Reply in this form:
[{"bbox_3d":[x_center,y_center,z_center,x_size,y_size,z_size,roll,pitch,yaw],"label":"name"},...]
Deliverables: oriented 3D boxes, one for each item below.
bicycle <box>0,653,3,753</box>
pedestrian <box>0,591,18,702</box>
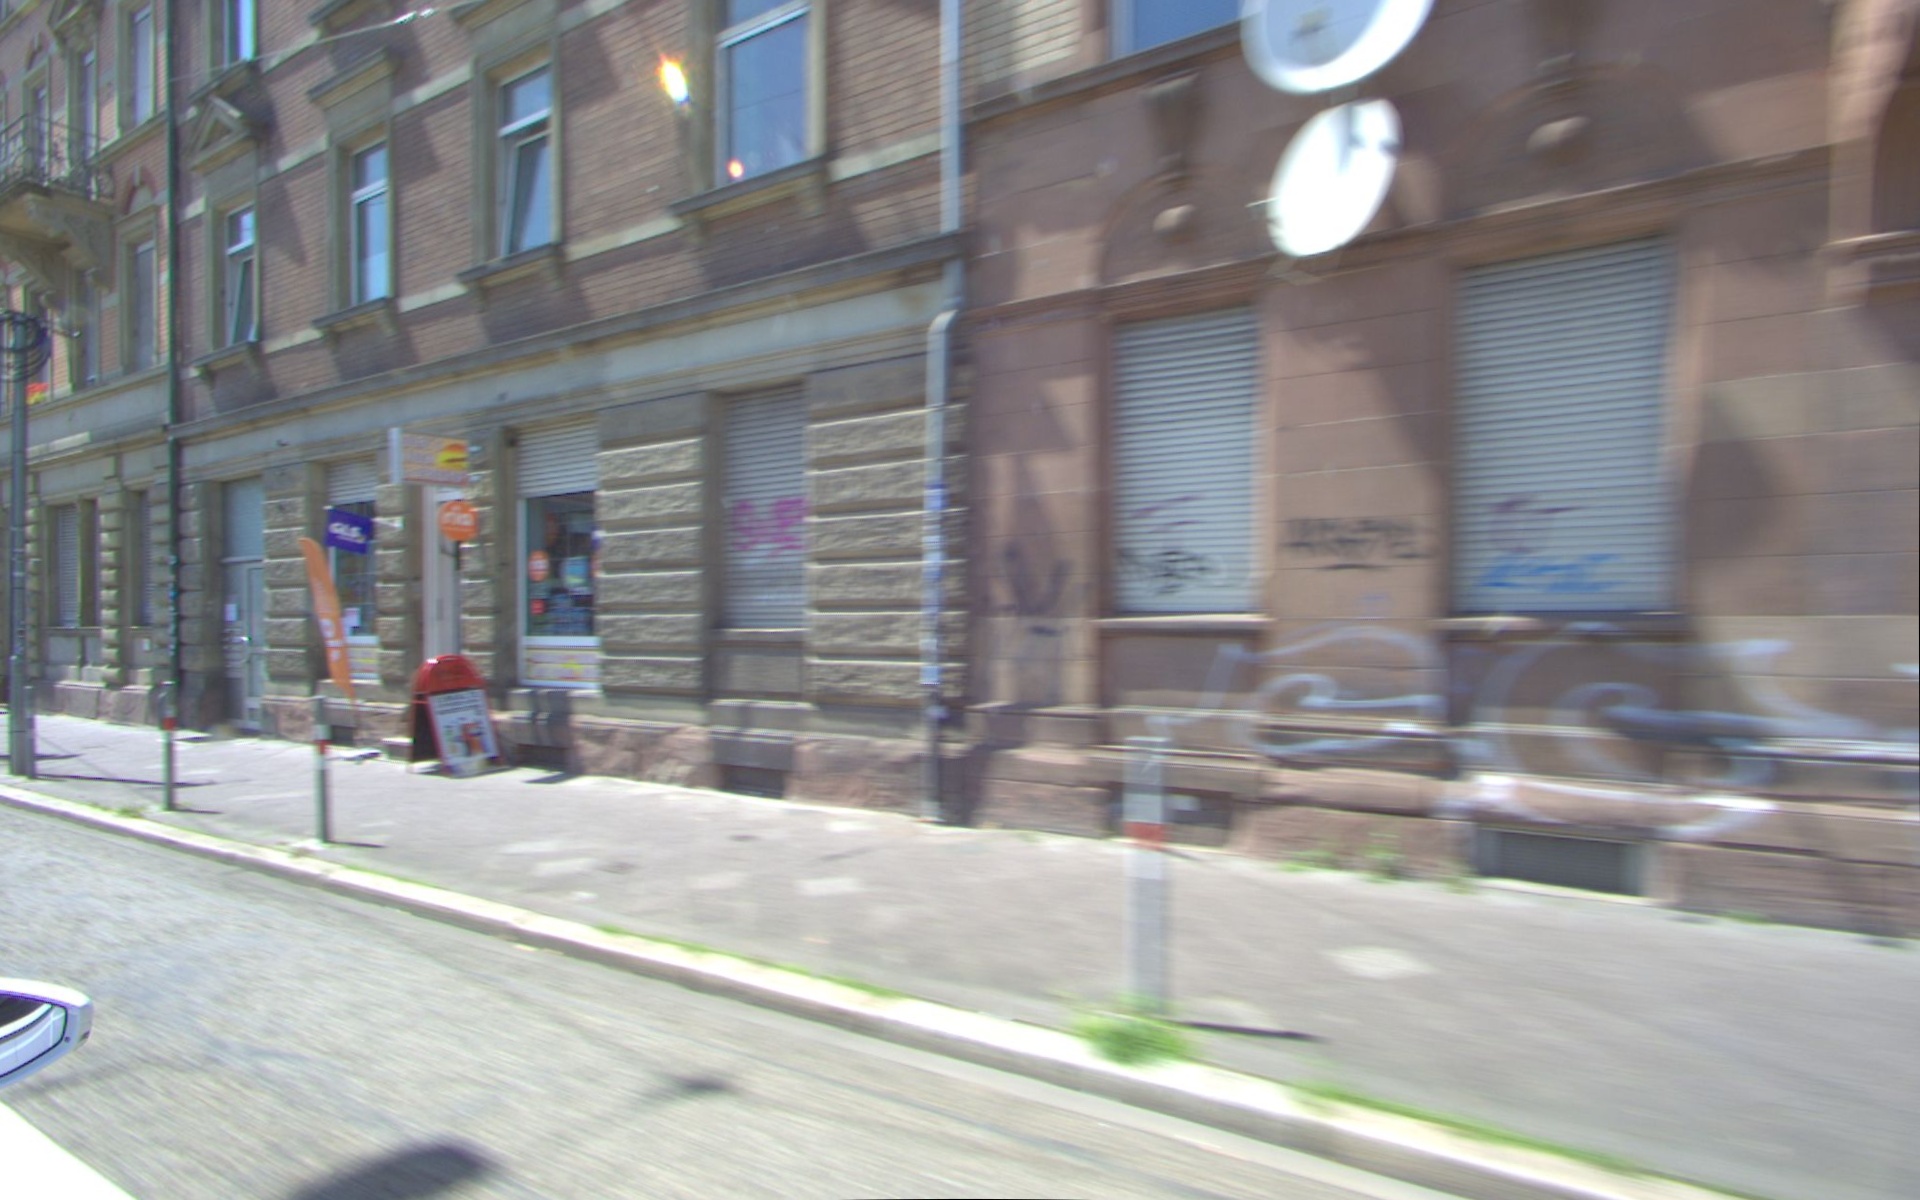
[{"bbox_3d":[-11.811,1.167,11.777,2.392,1.111,0.446,-1,0,38],"label":"bicycle"},{"bbox_3d":[-16.571,0.802,16.935,0.634,1.874,0.700,0,3,33],"label":"pedestrian"}]
